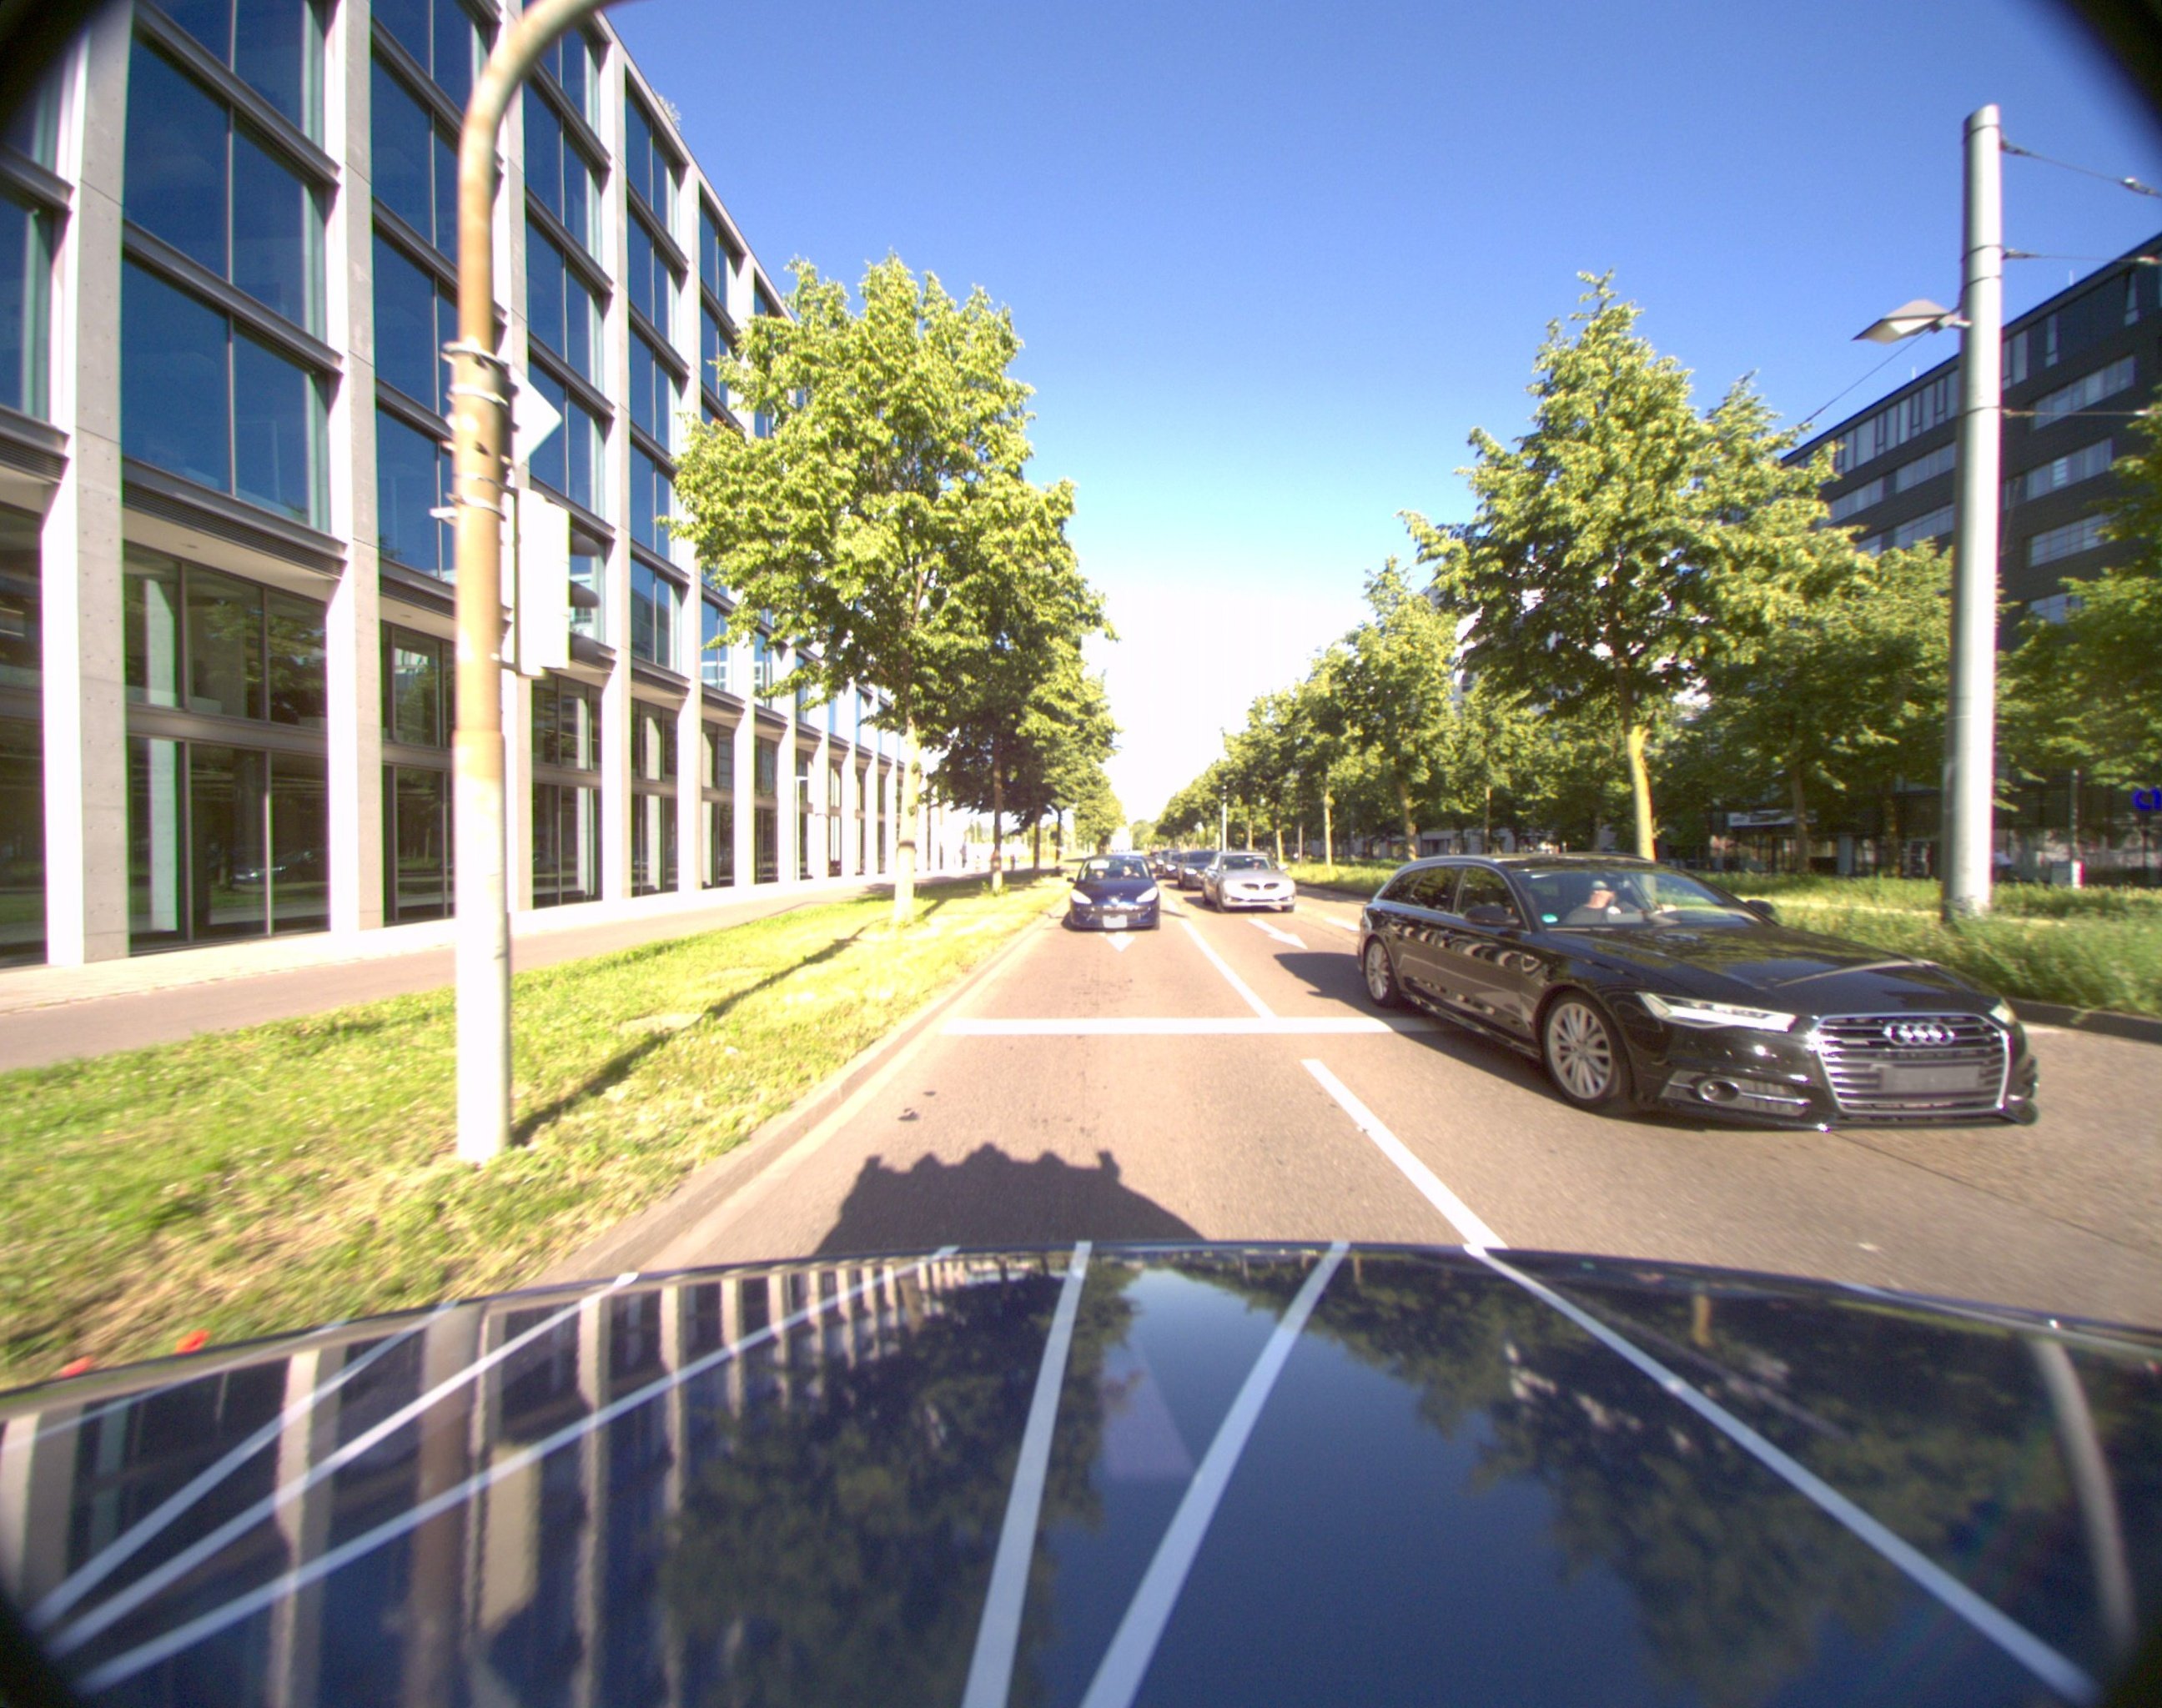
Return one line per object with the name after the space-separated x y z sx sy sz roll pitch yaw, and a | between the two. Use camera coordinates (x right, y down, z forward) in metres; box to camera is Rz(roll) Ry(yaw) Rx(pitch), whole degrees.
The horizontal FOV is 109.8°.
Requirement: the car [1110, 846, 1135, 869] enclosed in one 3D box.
2.930 0.236 53.773 1.705 1.591 3.786 0 1 4 | car

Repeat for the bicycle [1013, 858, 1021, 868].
-5.260 0.745 62.487 0.464 0.813 1.345 -1 1 4 | bicycle

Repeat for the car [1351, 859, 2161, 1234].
3.609 0.817 5.396 1.812 1.448 4.507 -1 1 0 | car

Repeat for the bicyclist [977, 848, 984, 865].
-7.636 0.191 57.718 0.448 1.282 0.418 -1 2 4 | bicyclist

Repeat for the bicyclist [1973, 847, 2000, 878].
42.126 0.395 35.354 0.493 1.398 0.626 -1 2 4 | bicyclist

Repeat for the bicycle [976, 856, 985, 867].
-7.629 0.569 57.679 0.415 0.813 1.320 -1 1 4 | bicycle

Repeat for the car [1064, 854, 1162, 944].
0.675 0.791 15.181 1.686 1.514 3.786 -1 1 4 | car

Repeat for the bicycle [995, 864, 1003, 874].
-6.723 1.233 62.373 0.464 0.813 1.345 -1 1 4 | bicycle

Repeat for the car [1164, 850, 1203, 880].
5.336 0.530 39.953 1.812 1.446 4.255 0 1 5 | car

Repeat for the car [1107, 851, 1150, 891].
1.928 0.629 30.659 1.612 1.463 4.396 0 1 4 | car

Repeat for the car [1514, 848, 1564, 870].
37.670 0.357 62.560 1.858 1.739 4.001 0 1 4 | car

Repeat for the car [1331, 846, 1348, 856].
41.152 -0.517 120.865 1.601 1.659 3.744 0 1 4 | car

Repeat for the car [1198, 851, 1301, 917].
4.216 0.674 19.732 1.812 1.480 4.743 0 1 3 | car

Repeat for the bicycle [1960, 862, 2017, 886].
42.159 0.909 35.326 0.528 1.028 1.848 -1 1 4 | bicycle

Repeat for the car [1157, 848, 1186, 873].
6.044 0.384 51.103 1.812 1.581 4.166 0 1 5 | car

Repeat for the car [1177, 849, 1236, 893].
4.696 0.583 28.828 1.812 1.514 4.029 0 1 4 | car

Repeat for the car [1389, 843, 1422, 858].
39.662 -0.439 93.074 2.012 1.689 4.791 0 1 0 | car

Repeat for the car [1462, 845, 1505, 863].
38.403 -0.015 72.649 1.858 1.674 4.793 0 1 4 | car

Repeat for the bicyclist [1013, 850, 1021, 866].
-5.267 0.350 62.432 0.534 1.282 0.521 -1 2 4 | bicyclist

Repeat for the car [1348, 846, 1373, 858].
40.585 -0.335 110.555 2.011 1.689 4.792 0 1 2 | car

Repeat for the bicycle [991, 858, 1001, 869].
-6.428 0.733 57.631 0.464 0.813 1.345 -1 1 4 | bicycle

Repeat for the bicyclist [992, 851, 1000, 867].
-6.434 0.359 57.639 0.534 1.210 0.507 -1 2 4 | bicyclist

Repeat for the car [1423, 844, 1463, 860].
39.335 -0.235 82.739 2.012 1.689 4.791 0 1 0 | car
